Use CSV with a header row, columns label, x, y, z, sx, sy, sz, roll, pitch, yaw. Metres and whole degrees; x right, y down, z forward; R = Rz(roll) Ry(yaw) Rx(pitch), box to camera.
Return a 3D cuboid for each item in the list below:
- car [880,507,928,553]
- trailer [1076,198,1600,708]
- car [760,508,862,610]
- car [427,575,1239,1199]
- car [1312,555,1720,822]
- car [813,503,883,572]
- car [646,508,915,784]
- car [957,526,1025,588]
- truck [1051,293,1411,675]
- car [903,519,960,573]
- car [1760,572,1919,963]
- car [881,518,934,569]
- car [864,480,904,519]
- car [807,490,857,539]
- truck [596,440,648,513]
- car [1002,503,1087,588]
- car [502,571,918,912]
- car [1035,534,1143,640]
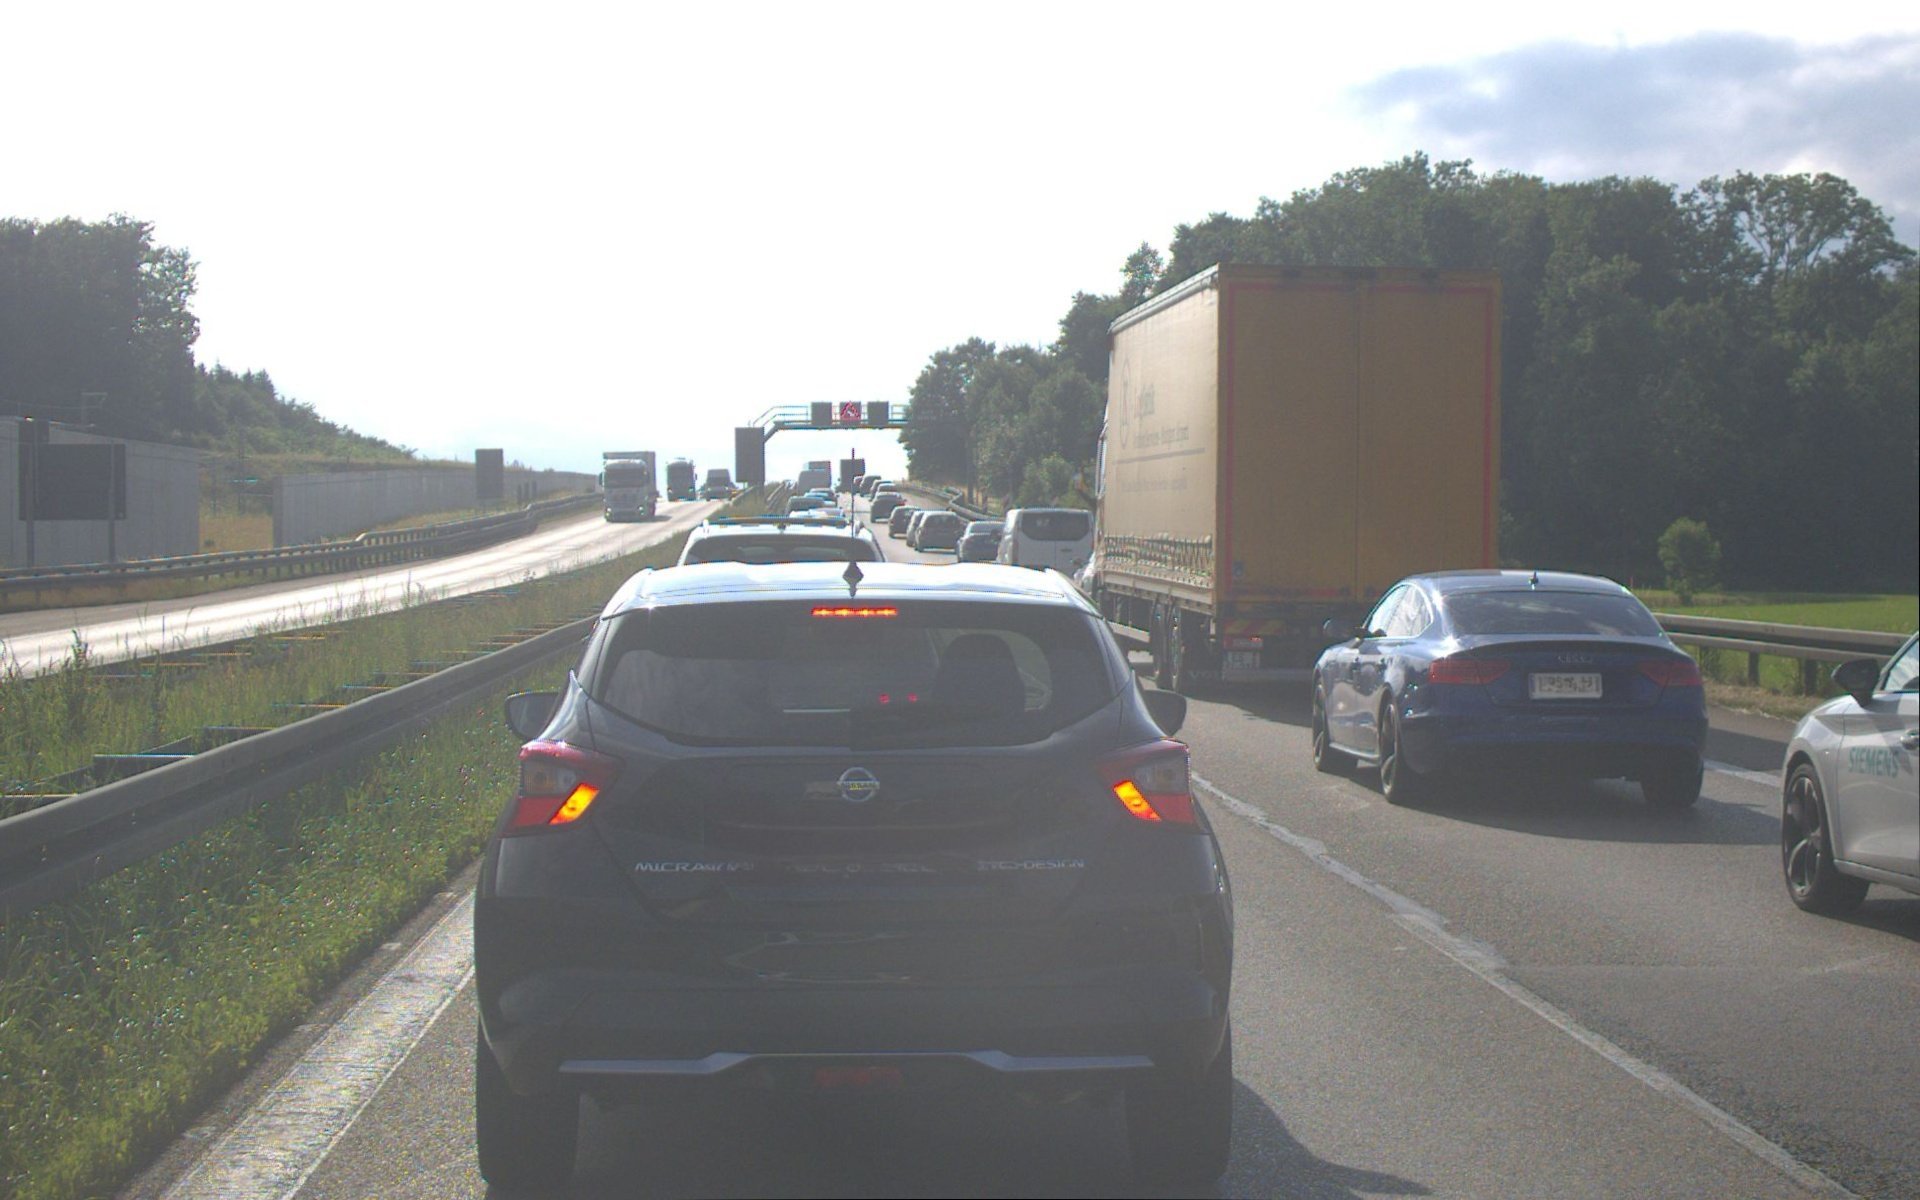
label,x,y,z,sx,sy,sz,roll,pitch,yaw
car,-2.557,-3.166,155.697,1.993,2.007,4.001,1,1,-3
trailer,3.555,-1.356,36.654,3.548,4.442,12.723,1,1,-3
car,-3.072,-0.830,70.472,1.993,2.007,4.001,1,1,-3
car,-0.290,0.658,9.002,1.710,1.421,3.378,1,0,-1
car,3.306,0.474,21.197,1.747,1.470,4.147,1,0,-1
car,-3.366,-1.852,102.516,1.993,2.007,4.001,1,1,-3
car,-1.172,0.276,23.489,1.674,1.720,3.596,1,0,-1
car,1.001,-1.413,113.714,1.993,2.007,4.001,1,1,-3
truck,3.224,-1.373,43.076,3.581,4.364,6.689,1,1,-3
car,-1.102,-2.078,132.003,1.993,2.007,4.001,1,1,-3
car,4.362,0.628,12.638,1.620,1.440,4.147,1,0,-4
car,-2.165,-2.310,141.293,1.993,2.007,4.001,1,1,-3
car,-4.115,-5.441,185.949,1.993,2.007,4.001,1,1,-3
car,-5.429,-3.608,145.343,1.993,2.007,4.001,1,1,-3
truck,-20.031,-7.276,203.924,2.637,4.084,7.003,1,1,-3
car,1.787,-1.148,73.219,1.667,1.748,3.327,1,1,-1
car,-1.053,0.561,15.775,1.674,1.362,3.596,1,0,-1
car,2.201,-0.237,59.365,1.667,1.748,3.327,1,1,-1
